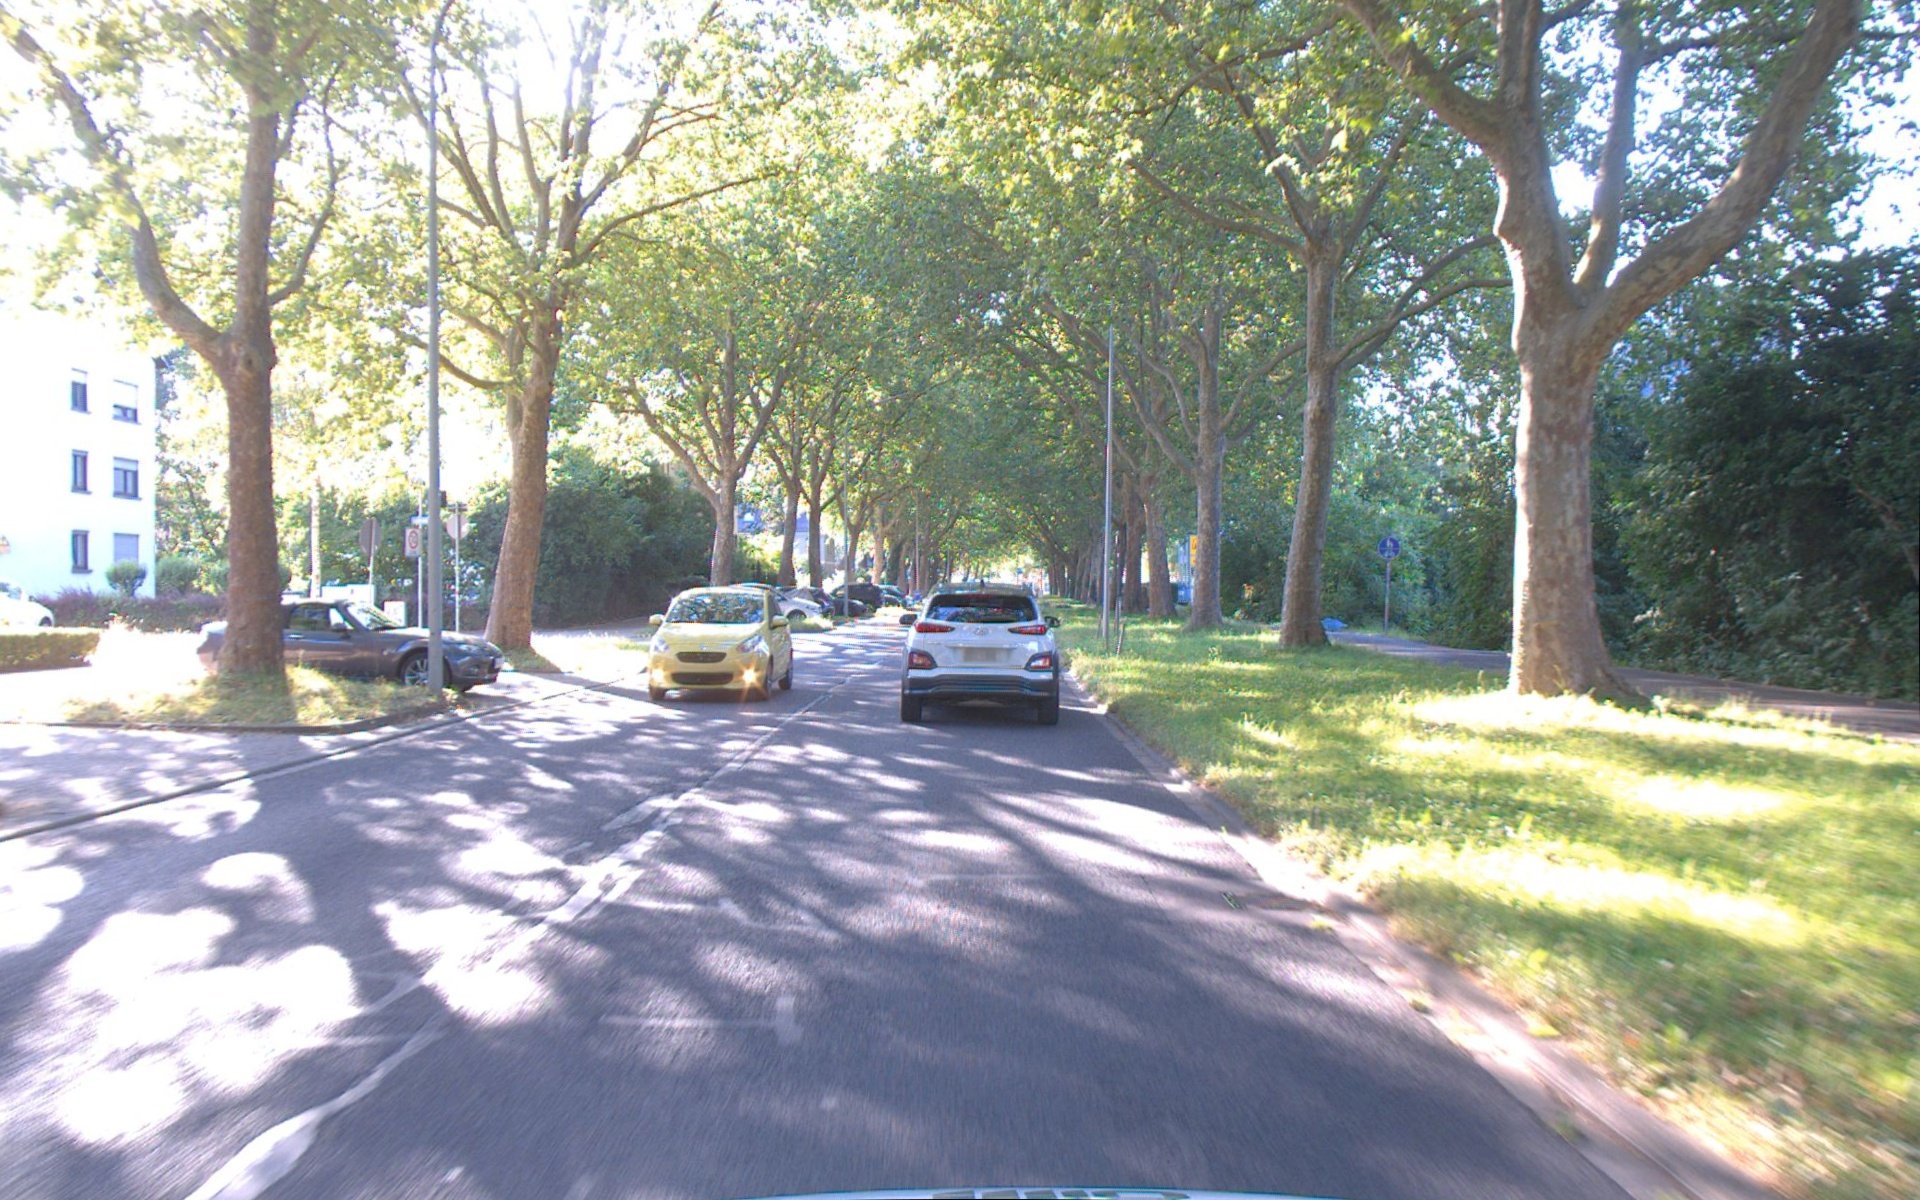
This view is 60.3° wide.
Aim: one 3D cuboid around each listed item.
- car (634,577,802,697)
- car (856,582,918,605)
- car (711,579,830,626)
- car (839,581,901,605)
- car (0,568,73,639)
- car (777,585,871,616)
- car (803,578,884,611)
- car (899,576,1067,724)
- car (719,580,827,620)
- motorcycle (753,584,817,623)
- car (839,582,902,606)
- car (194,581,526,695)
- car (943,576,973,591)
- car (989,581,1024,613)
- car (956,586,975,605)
[{"bbox_3d":[-3.307,0.465,23.251,1.747,1.539,3.838,-1,0,0],"label":"car"},{"bbox_3d":[-4.812,-0.440,109.533,3.903,1.496,1.810,1,0,3],"label":"car"},{"bbox_3d":[-6.786,0.070,59.577,4.099,1.612,1.999,1,0,-3],"label":"car"},{"bbox_3d":[-5.808,-0.470,107.147,3.904,1.546,1.809,0,0,1],"label":"car"},{"bbox_3d":[-22.694,0.065,38.559,1.953,1.602,3.998,1,0,-2],"label":"car"},{"bbox_3d":[-6.250,0.029,76.202,4.153,1.376,1.741,0,0,0],"label":"car"},{"bbox_3d":[-6.204,-0.312,88.296,4.156,1.709,1.671,0,0,2],"label":"car"},{"bbox_3d":[0.182,0.518,19.864,1.798,1.583,3.999,1,1,-2],"label":"car"},{"bbox_3d":[-7.284,-0.017,64.682,4.076,1.532,1.801,0,0,-2],"label":"car"},{"bbox_3d":[-6.554,0.134,61.864,2.338,1.412,0.648,1,1,-4],"label":"motorcycle"},{"bbox_3d":[-5.622,-0.366,103.876,3.907,1.449,1.808,0,0,-2],"label":"car"},{"bbox_3d":[-7.944,0.485,22.139,3.748,1.339,1.790,2,0,-1],"label":"car"},{"bbox_3d":[-0.266,-2.137,216.070,3.907,1.803,1.999,1,0,-3],"label":"car"},{"bbox_3d":[2.506,-0.183,90.626,1.643,1.725,3.743,1,0,-3],"label":"car"},{"bbox_3d":[0.435,-0.363,129.047,1.504,1.484,3.185,0,0,0],"label":"car"}]
